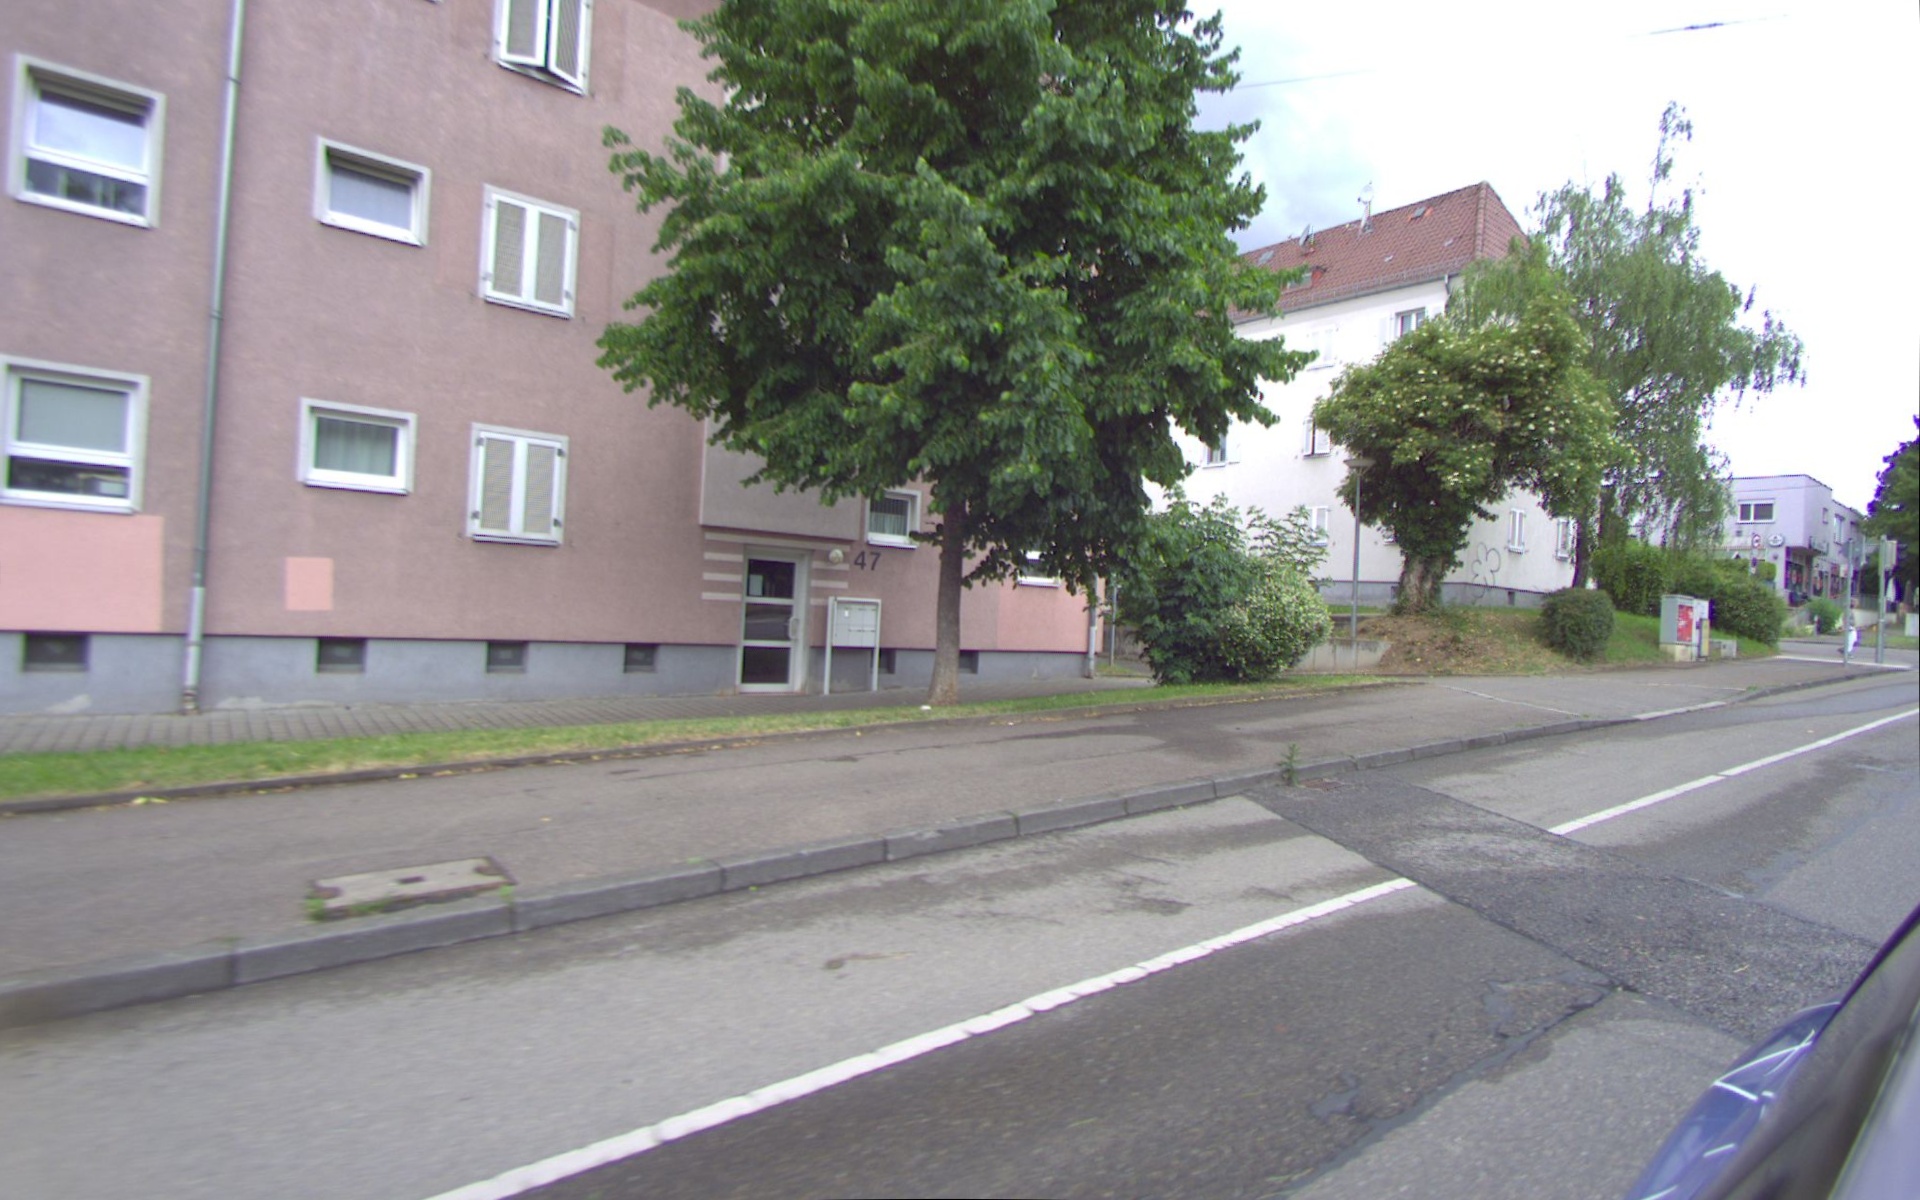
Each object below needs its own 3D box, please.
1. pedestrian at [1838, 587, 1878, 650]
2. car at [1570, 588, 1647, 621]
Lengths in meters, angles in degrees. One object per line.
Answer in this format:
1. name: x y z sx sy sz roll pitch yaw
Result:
1. pedestrian: 25.440 0.521 28.667 0.564 1.706 0.659 4 1 -37
2. car: 32.288 0.231 50.375 4.530 1.553 1.997 1 0 -40
